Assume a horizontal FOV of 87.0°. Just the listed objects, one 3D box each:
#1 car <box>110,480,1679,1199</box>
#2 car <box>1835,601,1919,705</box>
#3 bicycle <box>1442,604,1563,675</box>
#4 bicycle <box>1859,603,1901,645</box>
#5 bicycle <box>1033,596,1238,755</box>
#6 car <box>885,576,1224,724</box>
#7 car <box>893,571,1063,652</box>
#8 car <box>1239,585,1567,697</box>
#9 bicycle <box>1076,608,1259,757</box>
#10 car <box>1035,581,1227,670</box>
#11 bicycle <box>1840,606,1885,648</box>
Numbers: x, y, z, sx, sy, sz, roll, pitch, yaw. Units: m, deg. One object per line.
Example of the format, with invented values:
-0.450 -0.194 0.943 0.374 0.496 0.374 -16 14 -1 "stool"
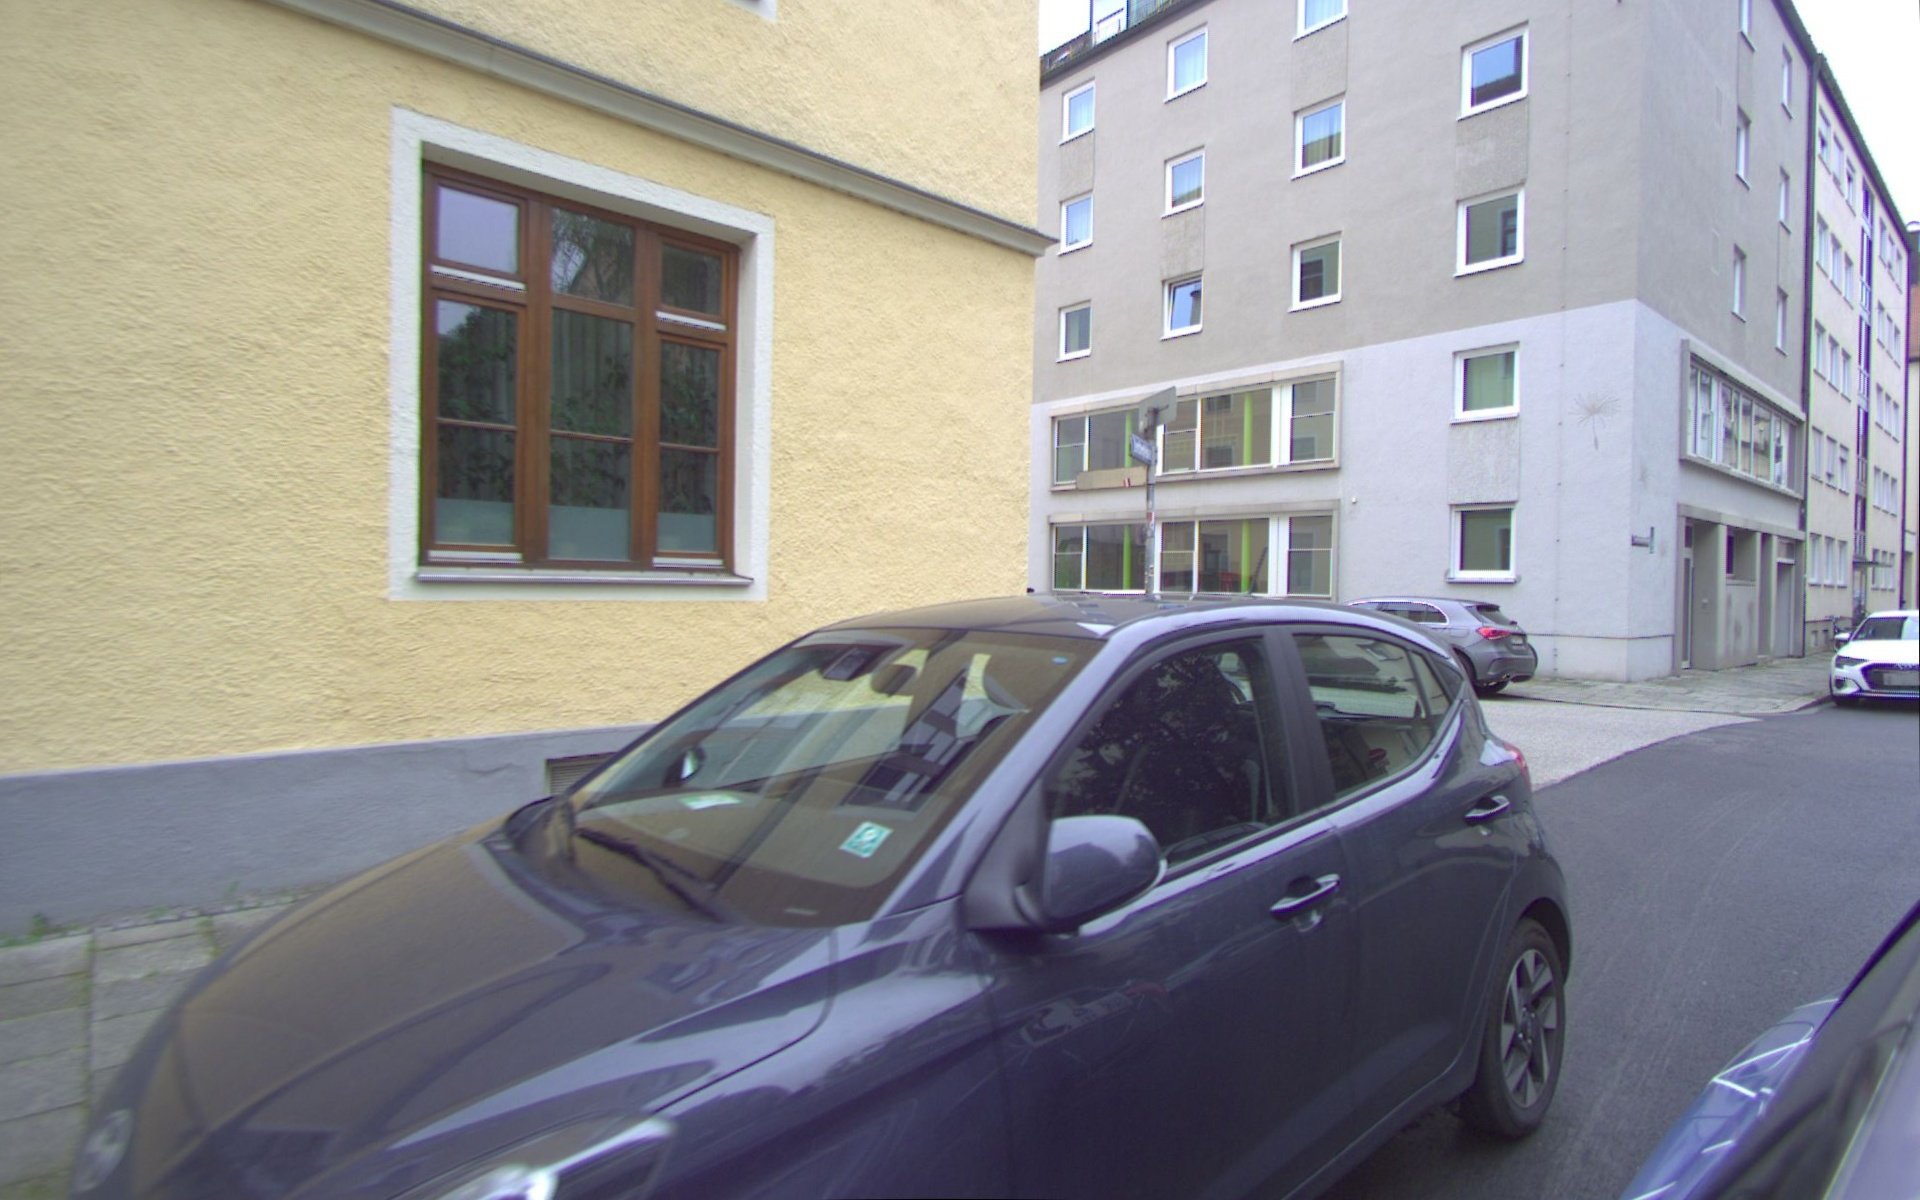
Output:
0.414 0.676 2.865 4.268 1.488 1.753 0 -2 -42 "car"
14.637 0.732 15.156 3.883 1.426 1.822 0 0 -41 "car"
9.372 0.655 17.538 0.457 1.130 1.800 0 0 -41 "bicycle"
27.212 0.702 29.934 1.730 1.119 0.656 -1 5 -42 "bicycle"
1.492 0.604 8.912 0.496 1.188 1.811 3 1 -42 "bicycle"
1.010 0.474 12.659 1.682 1.512 4.218 -1 2 -42 "car"
0.344 0.228 22.798 3.664 1.546 1.541 3 -3 44 "car"
6.711 0.554 15.655 1.966 1.417 4.209 3 0 -43 "car"
1.844 0.698 9.226 0.367 1.153 1.717 3 1 -41 "bicycle"
3.209 0.455 19.432 1.539 1.454 3.350 6 -3 -41 "car"
24.768 0.732 27.772 1.766 1.041 0.645 -1 5 -42 "bicycle"
